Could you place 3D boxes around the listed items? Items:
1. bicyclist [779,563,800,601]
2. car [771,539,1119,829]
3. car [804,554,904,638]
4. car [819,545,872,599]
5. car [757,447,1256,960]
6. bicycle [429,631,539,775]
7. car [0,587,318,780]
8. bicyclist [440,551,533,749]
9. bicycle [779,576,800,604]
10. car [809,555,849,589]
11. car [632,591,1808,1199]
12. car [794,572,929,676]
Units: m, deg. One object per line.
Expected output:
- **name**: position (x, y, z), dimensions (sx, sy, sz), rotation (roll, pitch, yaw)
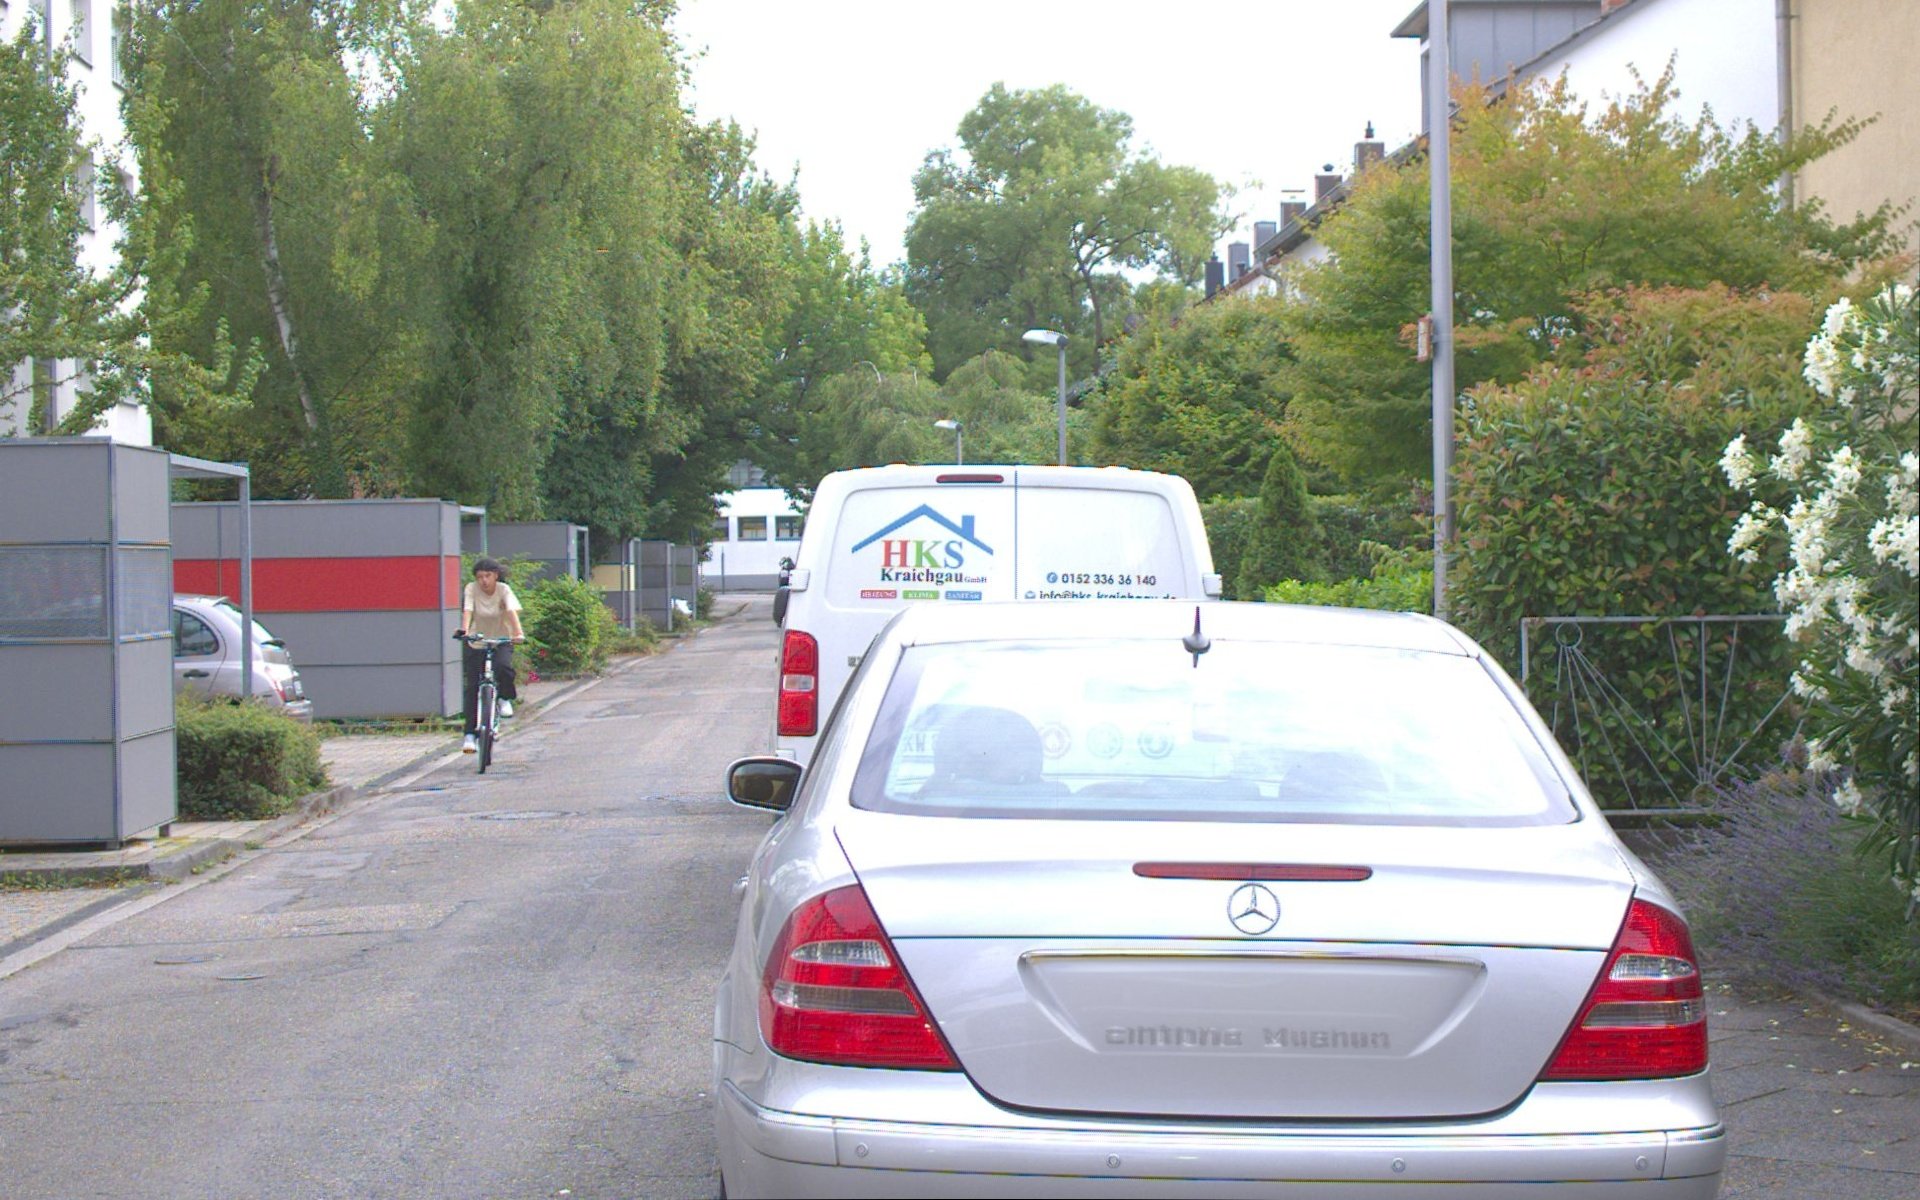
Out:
- **bicyclist**: position (-6.952, -0.737, 140.274), dimensions (0.798, 1.506, 0.934), rotation (1, 0, 0)
- **car**: position (-0.193, 0.457, 21.496), dimensions (1.824, 1.630, 4.163), rotation (0, 1, -5)
- **car**: position (-2.106, -0.103, 67.478), dimensions (1.825, 1.576, 4.001), rotation (1, 1, -3)
- **car**: position (-4.137, -1.018, 124.423), dimensions (1.825, 1.877, 4.000), rotation (1, 1, -2)
- **car**: position (0.055, 0.375, 15.832), dimensions (1.903, 1.958, 5.254), rotation (0, 1, -3)
- **bicycle**: position (-3.857, 0.816, 27.984), dimensions (0.597, 1.072, 2.042), rotation (-2, 1, -1)
- **car**: position (-7.287, 0.698, 28.881), dimensions (3.561, 1.475, 1.711), rotation (-2, 1, -6)
- **bicyclist**: position (-3.873, 0.400, 28.150), dimensions (0.597, 1.575, 0.767), rotation (-2, 0, -1)
- **bicycle**: position (-6.956, -0.399, 140.278), dimensions (0.689, 1.127, 2.579), rotation (1, 0, 0)
- **car**: position (-6.293, -1.345, 165.286), dimensions (1.825, 1.576, 4.000), rotation (1, 1, -2)
- **car**: position (0.373, 0.711, 7.463), dimensions (1.783, 1.416, 4.455), rotation (0, 1, -1)
- **car**: position (-1.407, 0.313, 49.119), dimensions (1.825, 1.365, 4.331), rotation (1, 1, -2)
